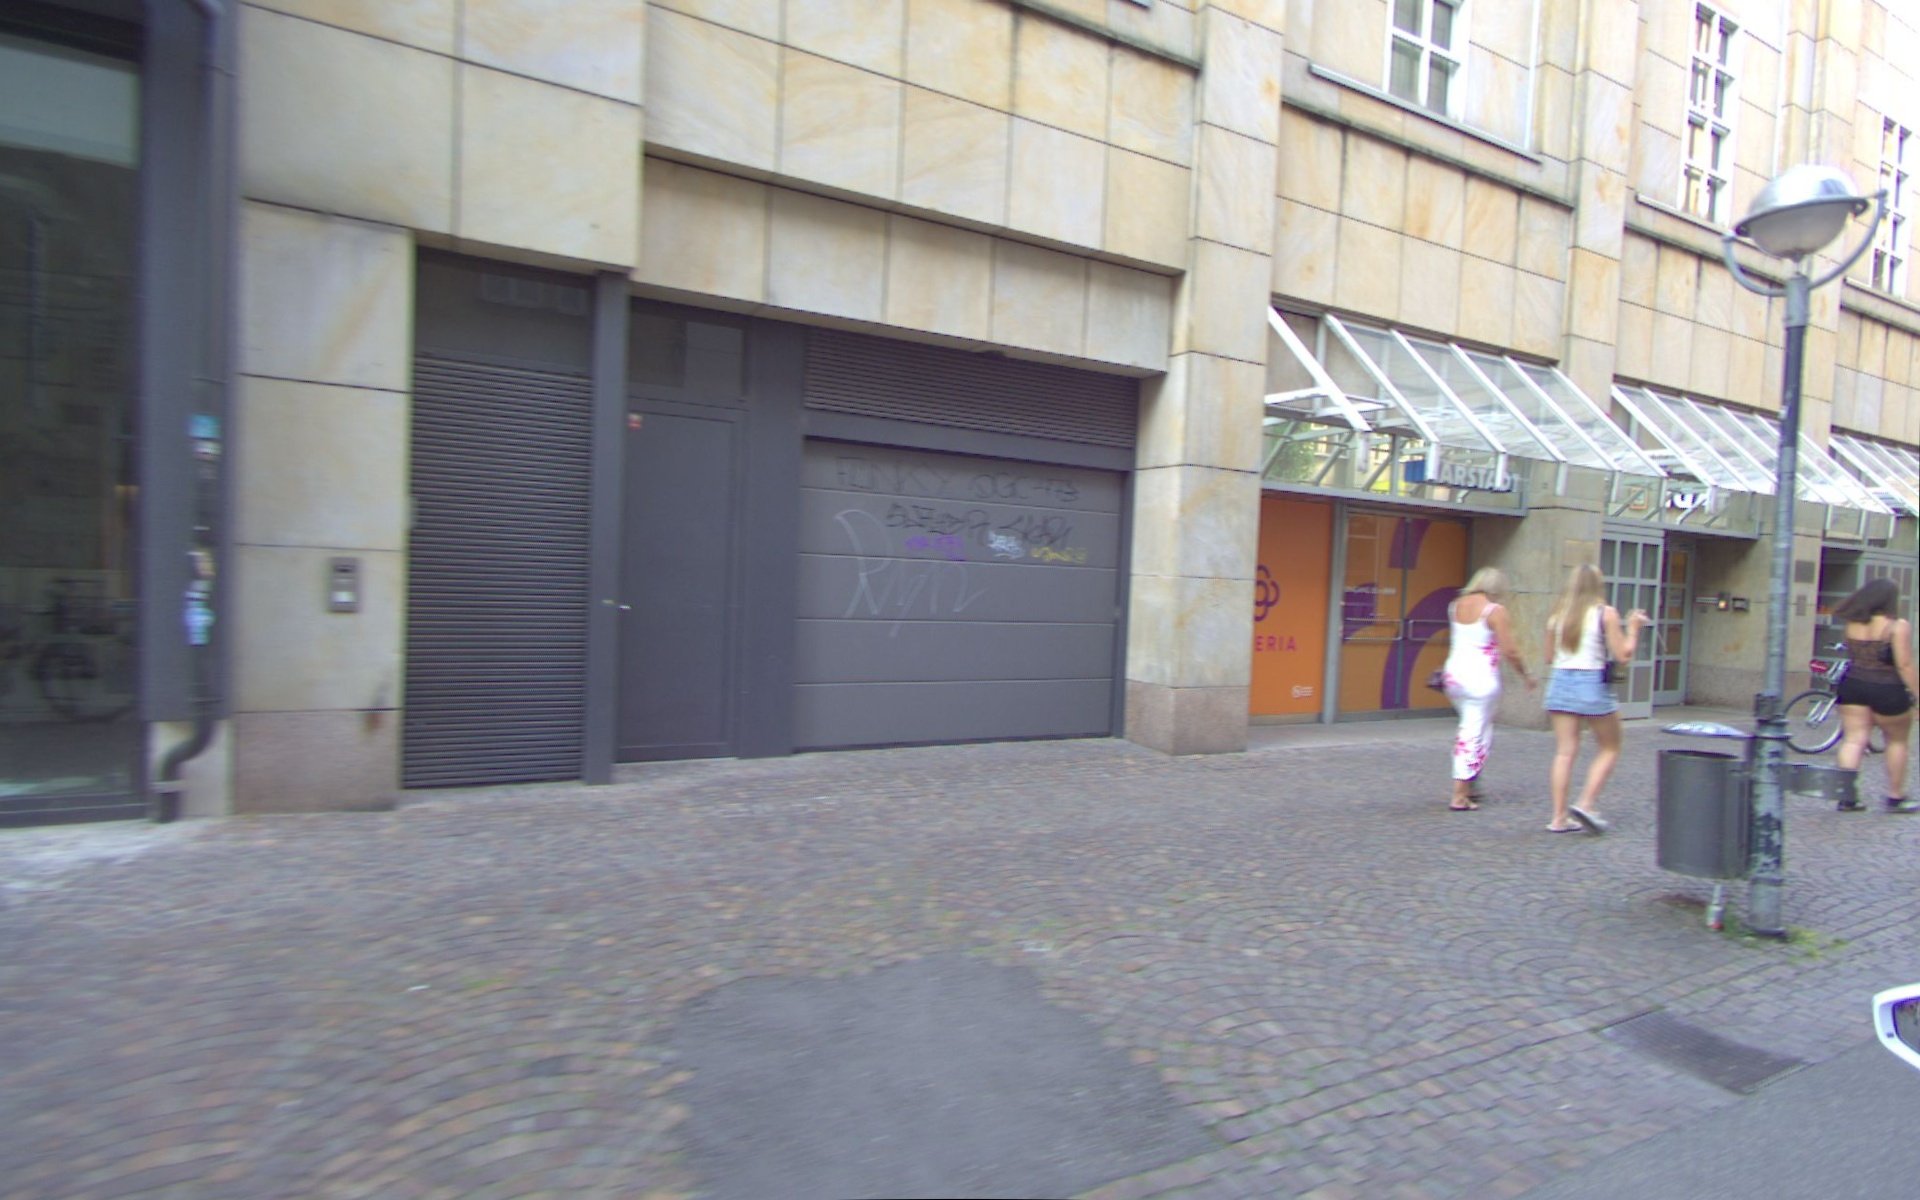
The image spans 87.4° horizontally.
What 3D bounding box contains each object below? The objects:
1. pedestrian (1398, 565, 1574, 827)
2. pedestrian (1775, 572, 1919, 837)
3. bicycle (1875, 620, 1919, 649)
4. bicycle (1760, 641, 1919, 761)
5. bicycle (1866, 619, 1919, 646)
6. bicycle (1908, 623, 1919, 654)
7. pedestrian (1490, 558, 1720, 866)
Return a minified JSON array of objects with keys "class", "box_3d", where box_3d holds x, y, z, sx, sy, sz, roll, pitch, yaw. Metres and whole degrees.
[{"class":"pedestrian","box_3d":[3.652,0.621,6.991,0.850,1.687,0.671,1,2,-31]},{"class":"pedestrian","box_3d":[6.814,0.721,7.448,0.959,1.819,0.783,1,2,-24]},{"class":"bicycle","box_3d":[40.045,1.470,42.512,1.880,1.127,0.479,3,1,39]},{"class":"bicycle","box_3d":[9.250,1.032,10.391,1.734,1.153,0.522,2,1,-14]},{"class":"bicycle","box_3d":[42.782,1.479,45.975,1.880,1.127,0.479,3,1,39]},{"class":"bicycle","box_3d":[33.074,1.347,33.716,1.758,1.033,0.479,3,1,39]},{"class":"pedestrian","box_3d":[4.031,0.636,6.301,0.938,1.753,0.802,1,2,-31]}]
